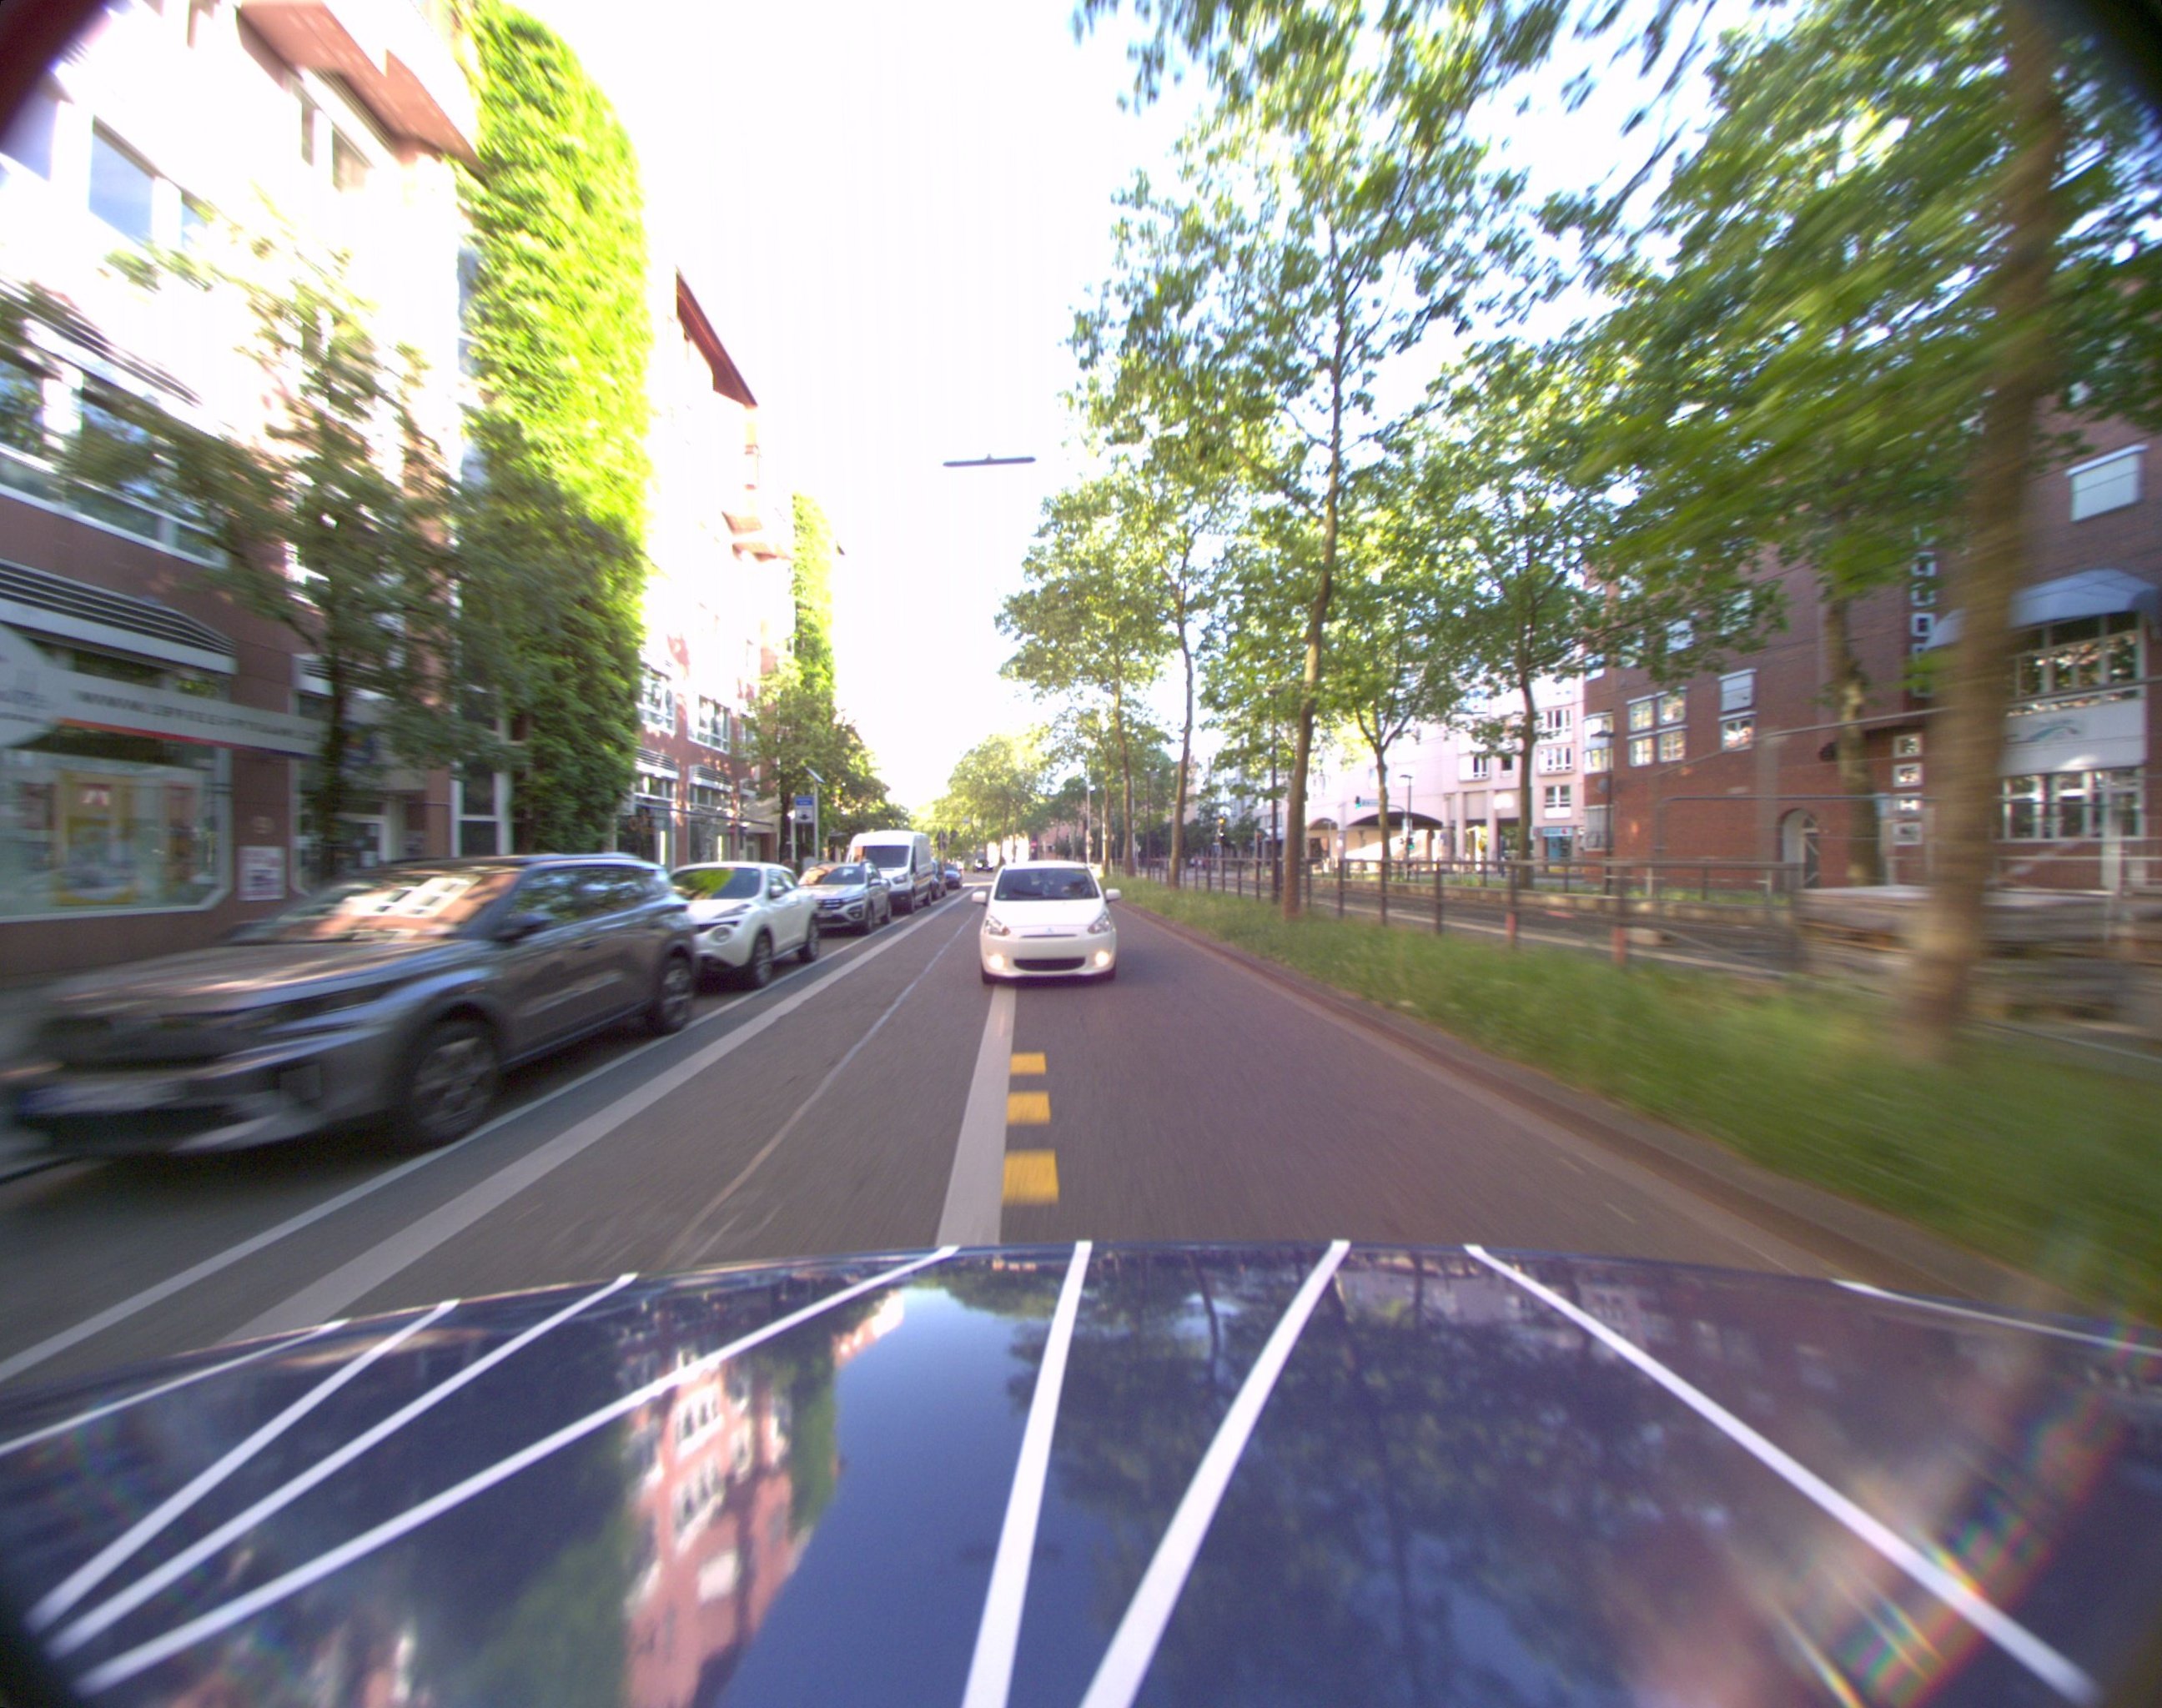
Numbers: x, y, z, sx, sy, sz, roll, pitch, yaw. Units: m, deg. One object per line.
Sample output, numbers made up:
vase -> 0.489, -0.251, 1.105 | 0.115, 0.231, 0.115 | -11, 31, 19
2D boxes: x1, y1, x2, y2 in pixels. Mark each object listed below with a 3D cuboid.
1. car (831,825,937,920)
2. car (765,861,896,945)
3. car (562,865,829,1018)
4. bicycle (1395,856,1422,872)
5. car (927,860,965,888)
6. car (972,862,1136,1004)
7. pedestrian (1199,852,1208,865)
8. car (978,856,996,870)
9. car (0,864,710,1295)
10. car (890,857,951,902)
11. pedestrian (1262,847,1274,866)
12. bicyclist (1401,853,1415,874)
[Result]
car -> -5.875, 0.487, 23.491 | 2.121, 2.550, 5.902 | -1, 0, -4
car -> -5.365, 0.974, 16.808 | 1.834, 1.570, 3.998 | -1, 0, -5
car -> -4.877, 0.982, 10.324 | 1.834, 1.570, 3.998 | -1, 0, -5
bicycle -> 26.128, 0.791, 60.646 | 0.775, 1.254, 1.814 | -3, 1, -35
car -> -7.021, 1.011, 39.851 | 1.809, 1.323, 3.988 | -1, 0, -8
car -> -0.564, 0.891, 10.541 | 1.809, 1.492, 4.197 | -1, 0, -8
pedestrian -> 15.343, 0.573, 95.097 | 1.006, 1.592, 0.876 | -2, 1, 1
car -> -11.252, 1.019, 91.324 | 1.999, 1.524, 3.998 | -2, 1, -5
car -> -4.416, 0.941, 5.267 | 1.793, 1.660, 4.438 | -1, 0, -5
car -> -6.278, 0.933, 30.226 | 1.809, 1.617, 4.473 | -1, 0, -5
pedestrian -> 20.405, 0.228, 82.905 | 1.006, 2.002, 0.876 | -2, 1, 1
bicyclist -> 26.108, 0.721, 60.663 | 0.720, 1.639, 0.667 | -3, 2, -35
